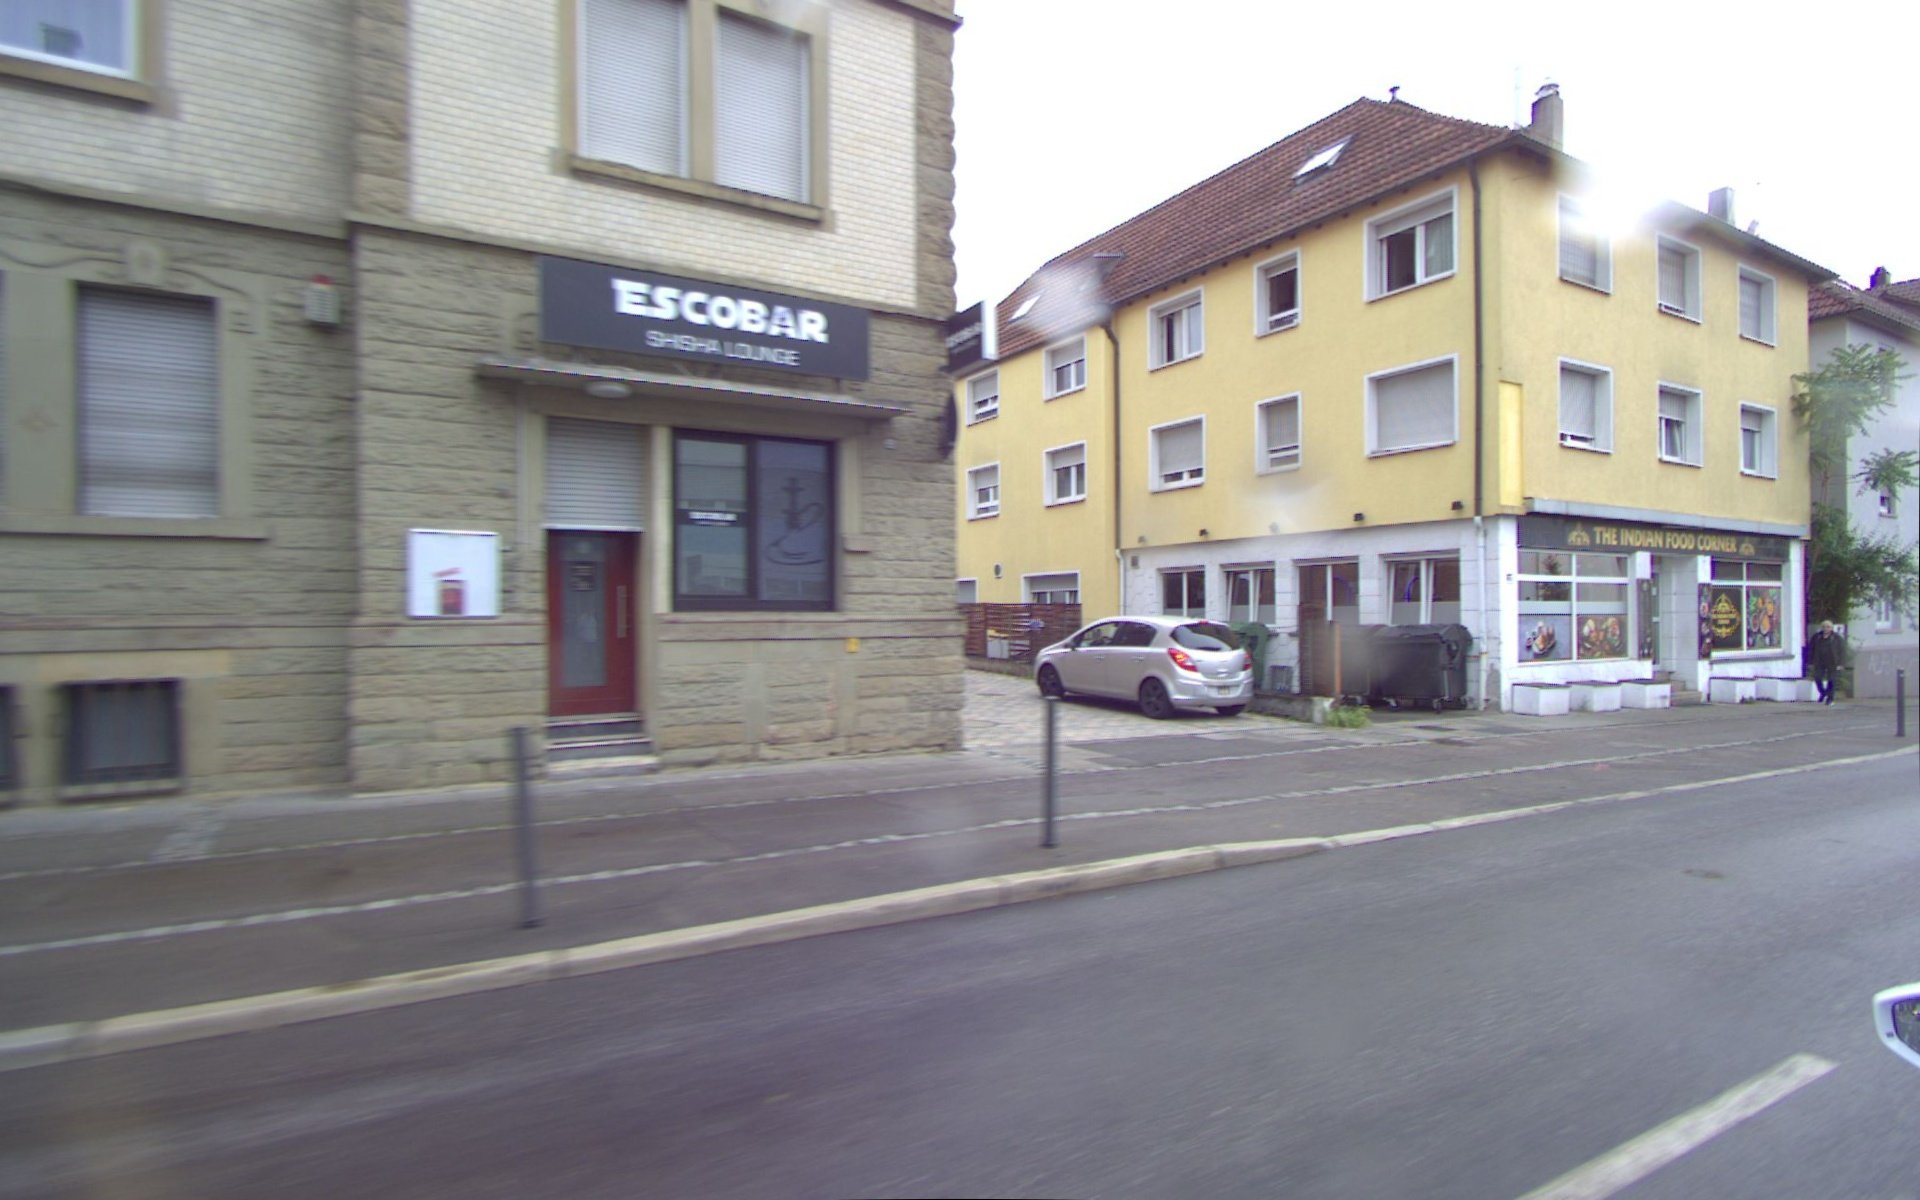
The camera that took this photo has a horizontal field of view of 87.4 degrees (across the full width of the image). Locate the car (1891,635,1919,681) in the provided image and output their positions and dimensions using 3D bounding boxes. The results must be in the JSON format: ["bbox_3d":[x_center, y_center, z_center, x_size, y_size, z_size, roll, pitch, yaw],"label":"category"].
[{"bbox_3d":[38.040,2.324,37.669,1.977,1.727,4.162,2,2,-30],"label":"car"}]

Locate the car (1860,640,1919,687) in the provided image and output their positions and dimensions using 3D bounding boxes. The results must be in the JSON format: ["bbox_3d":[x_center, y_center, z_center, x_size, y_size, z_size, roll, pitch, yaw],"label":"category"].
[{"bbox_3d":[33.657,2.277,34.246,1.977,1.472,3.966,2,2,-31],"label":"car"}]

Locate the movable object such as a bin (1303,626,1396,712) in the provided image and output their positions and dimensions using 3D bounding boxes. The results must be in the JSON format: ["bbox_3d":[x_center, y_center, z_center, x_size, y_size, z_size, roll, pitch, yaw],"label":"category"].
[{"bbox_3d":[7.007,1.214,18.099,0.972,1.459,1.240,1,-1,-31],"label":"movable object such as a bin"}]

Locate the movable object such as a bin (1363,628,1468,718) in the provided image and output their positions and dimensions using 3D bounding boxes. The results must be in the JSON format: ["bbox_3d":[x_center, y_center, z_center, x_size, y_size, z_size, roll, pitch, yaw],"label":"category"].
[{"bbox_3d":[7.688,1.200,16.976,0.972,1.421,1.295,1,-1,-30],"label":"movable object such as a bin"}]

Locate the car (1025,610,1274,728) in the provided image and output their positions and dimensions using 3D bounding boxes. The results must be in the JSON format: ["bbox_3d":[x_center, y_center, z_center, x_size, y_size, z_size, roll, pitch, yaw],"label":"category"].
[{"bbox_3d":[2.823,0.969,15.662,1.925,1.506,3.545,1,1,-31],"label":"car"}]

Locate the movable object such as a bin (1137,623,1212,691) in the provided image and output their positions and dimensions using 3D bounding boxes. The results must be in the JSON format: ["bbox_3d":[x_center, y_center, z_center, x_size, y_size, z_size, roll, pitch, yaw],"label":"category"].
[{"bbox_3d":[4.672,1.222,21.919,1.049,1.421,1.203,1,-1,-31],"label":"movable object such as a bin"}]

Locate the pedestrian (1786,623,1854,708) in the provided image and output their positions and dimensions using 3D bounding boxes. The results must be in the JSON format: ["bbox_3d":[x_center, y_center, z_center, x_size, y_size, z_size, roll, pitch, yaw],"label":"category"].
[{"bbox_3d":[17.916,1.351,20.932,0.982,1.701,0.810,2,-1,-33],"label":"pedestrian"}]

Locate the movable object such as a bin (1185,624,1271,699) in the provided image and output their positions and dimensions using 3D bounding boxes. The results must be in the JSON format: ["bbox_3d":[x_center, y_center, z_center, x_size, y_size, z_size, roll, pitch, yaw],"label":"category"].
[{"bbox_3d":[5.483,1.232,20.604,1.036,1.459,1.359,1,-1,-30],"label":"movable object such as a bin"}]
